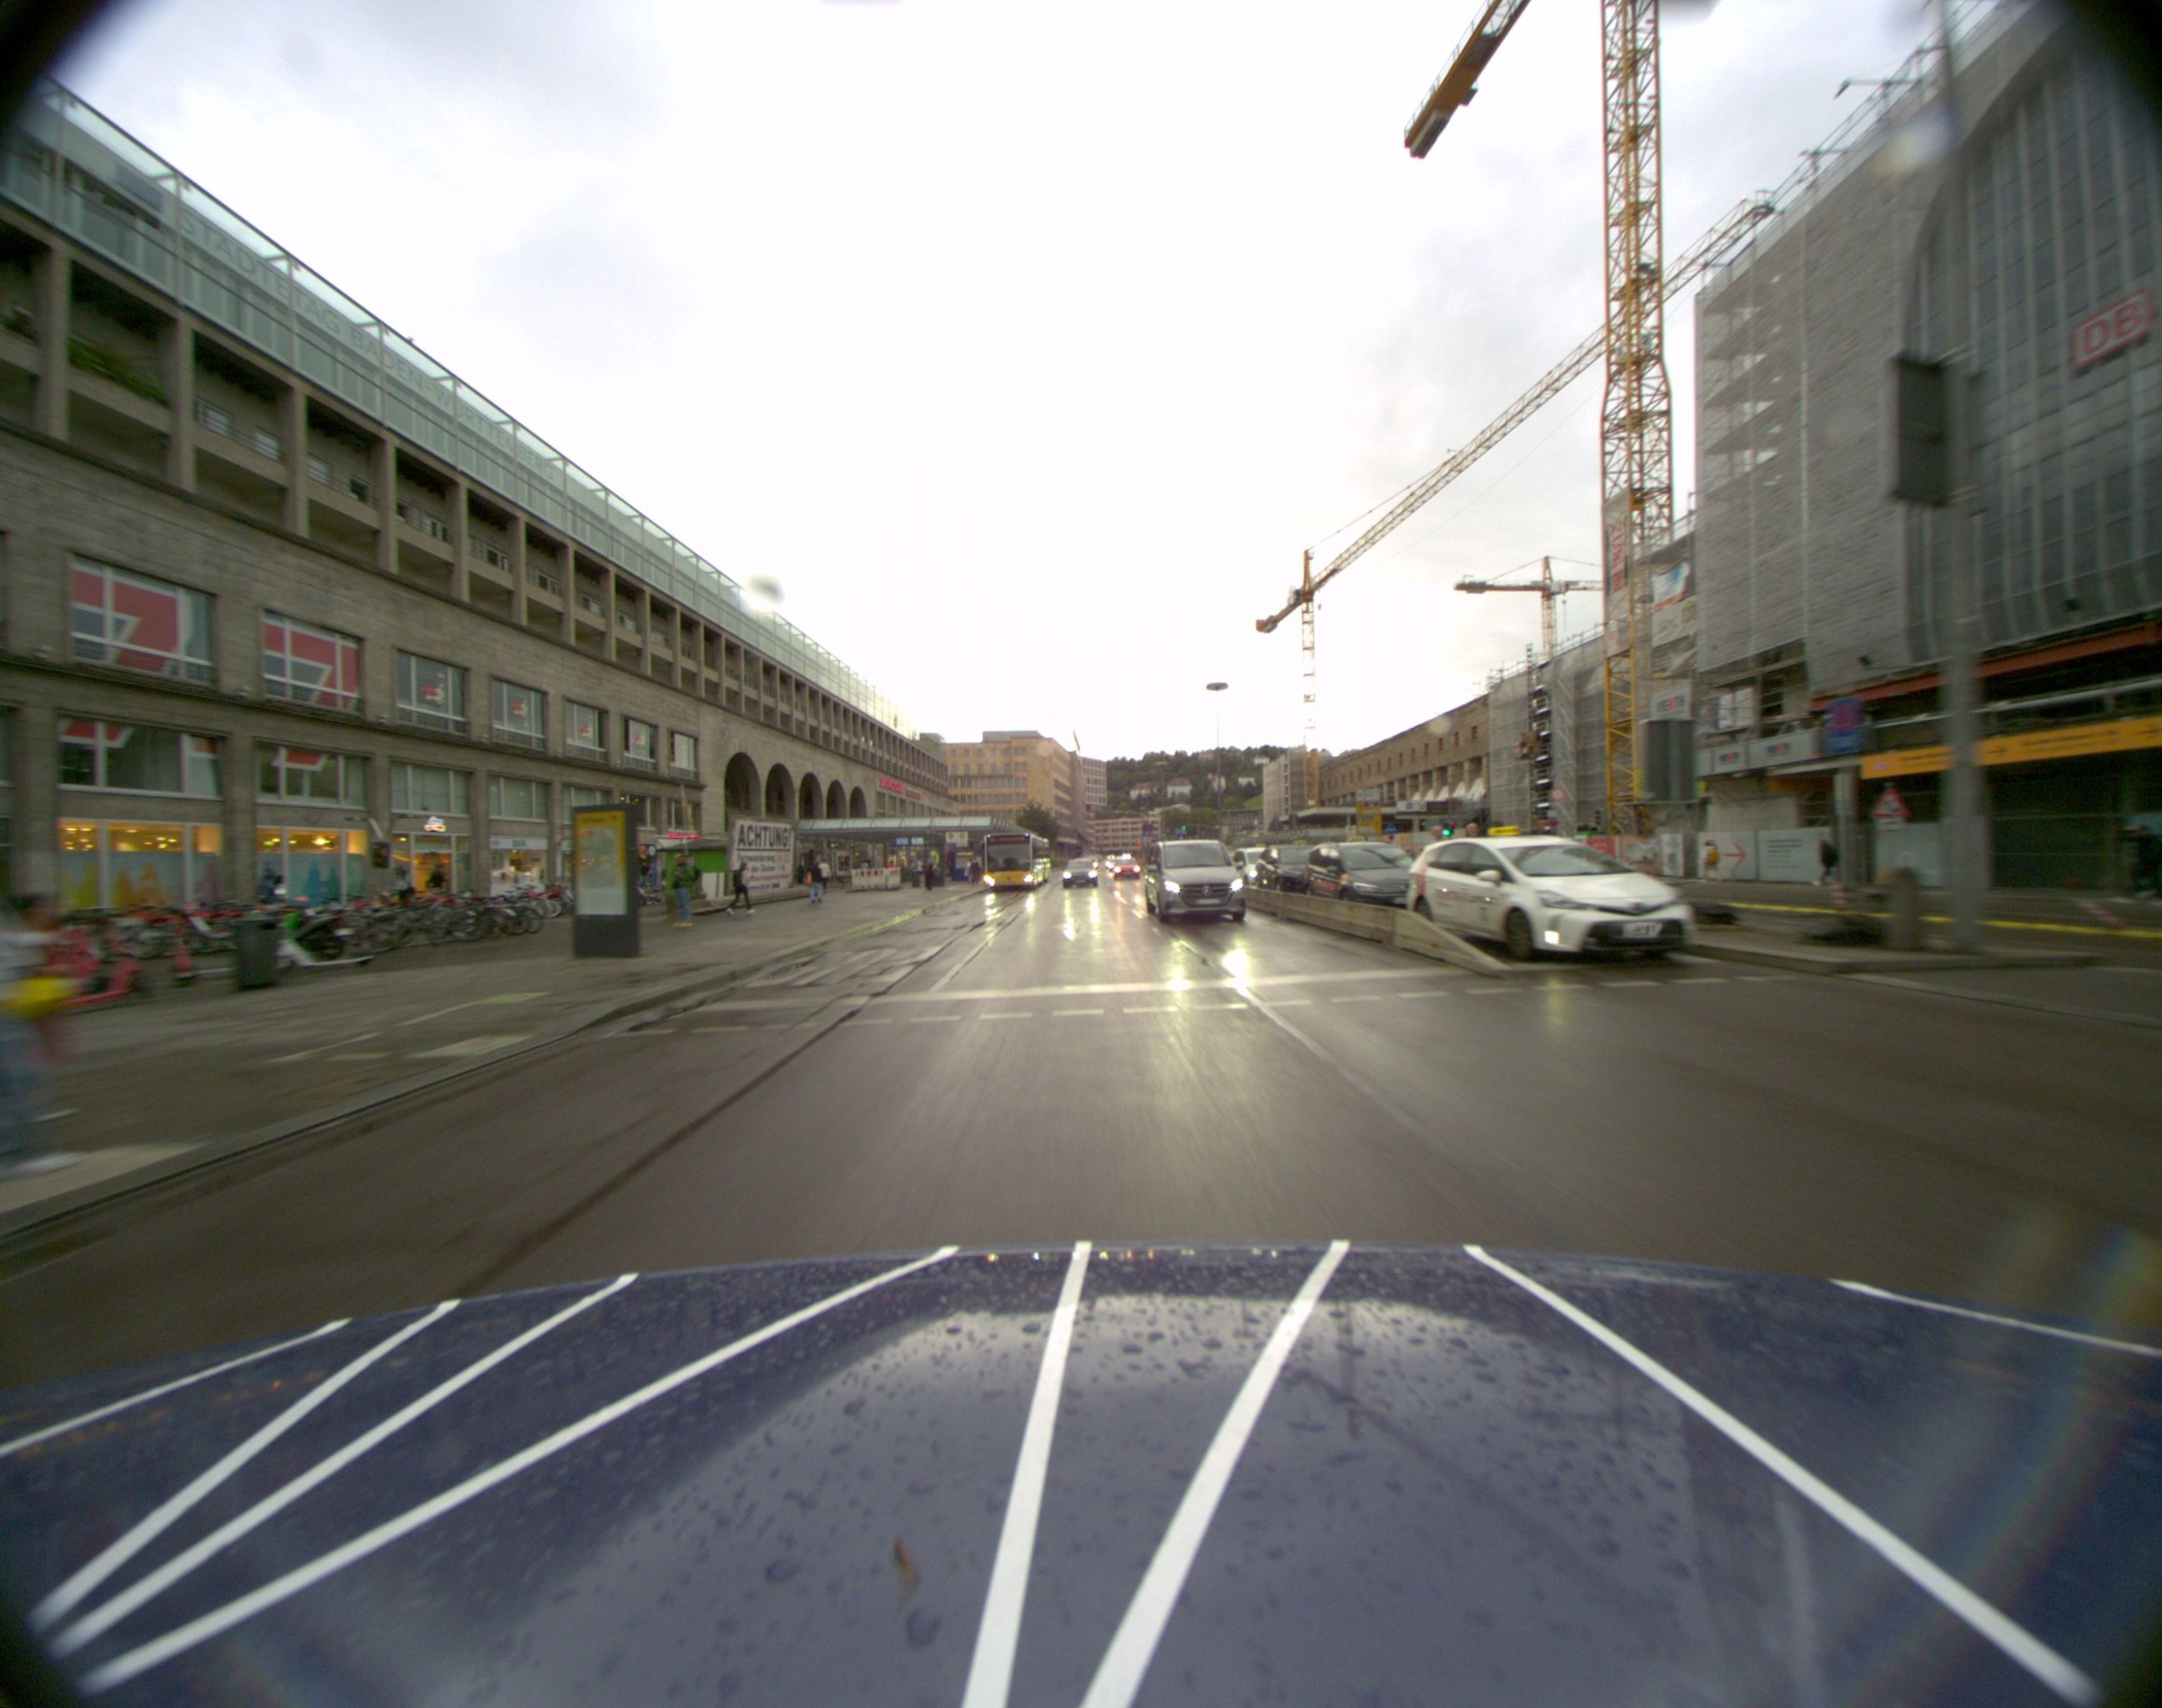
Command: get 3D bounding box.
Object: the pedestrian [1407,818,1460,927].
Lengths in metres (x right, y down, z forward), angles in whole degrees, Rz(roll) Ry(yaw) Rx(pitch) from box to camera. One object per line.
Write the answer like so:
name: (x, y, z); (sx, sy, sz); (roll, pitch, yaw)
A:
pedestrian: (6.668, 0.342, 14.395); (0.529, 2.002, 0.890); (-2, 0, -1)

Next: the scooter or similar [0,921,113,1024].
scooter or similar: (-13.605, 1.536, 10.038); (0.306, 1.200, 0.957); (-2, 1, 2)

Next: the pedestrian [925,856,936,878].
pedestrian: (-13.031, 1.124, 65.651); (0.596, 1.863, 0.592); (-1, 1, 35)

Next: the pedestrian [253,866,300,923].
pedestrian: (-24.443, 1.231, 23.100); (0.598, 1.679, 0.708); (-1, 1, 1)

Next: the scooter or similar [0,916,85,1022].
scooter or similar: (-14.048, 1.515, 9.939); (0.370, 1.274, 1.173); (-2, 1, 2)

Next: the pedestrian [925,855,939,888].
pedestrian: (-7.600, 0.895, 38.797); (0.595, 1.609, 0.511); (-3, 1, -9)

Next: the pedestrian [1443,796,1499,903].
pedestrian: (7.572, -0.091, 14.782); (0.623, 2.002, 0.836); (-2, 0, 0)

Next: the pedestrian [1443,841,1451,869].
pedestrian: (23.692, 0.065, 49.172); (0.339, 1.830, 0.510); (-2, 1, 17)

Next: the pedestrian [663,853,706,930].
pedestrian: (-10.232, 0.952, 19.628); (0.708, 1.921, 0.788); (-1, 1, -8)

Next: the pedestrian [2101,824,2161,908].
pedestrian: (23.780, 0.247, 16.940); (0.820, 1.830, 0.937); (-1, 1, 1)

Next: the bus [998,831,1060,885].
bus: (-3.360, 0.185, 51.970); (3.149, 3.229, 9.135); (-2, 1, 2)

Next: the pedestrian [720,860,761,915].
pedestrian: (-10.433, 1.015, 23.294); (0.787, 1.632, 0.790); (-1, 1, 16)

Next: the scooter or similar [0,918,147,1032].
scooter or similar: (-12.645, 1.484, 9.556); (0.325, 1.230, 1.099); (-2, 1, 2)

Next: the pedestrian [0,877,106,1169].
pedestrian: (-7.069, 1.064, 4.961); (0.541, 1.794, 0.756); (-2, 1, -27)

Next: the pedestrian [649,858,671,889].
pedestrian: (-24.224, 1.104, 43.726); (0.733, 1.782, 0.789); (-1, 1, 1)

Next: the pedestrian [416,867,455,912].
pedestrian: (-24.953, 1.360, 29.374); (0.723, 1.686, 0.776); (-2, 1, 0)

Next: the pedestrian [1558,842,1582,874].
pedestrian: (25.055, 0.214, 38.924); (0.678, 1.604, 0.839); (-2, 1, 4)

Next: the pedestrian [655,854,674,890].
pedestrian: (-22.701, 0.974, 41.458); (0.790, 1.918, 0.653); (-2, 1, -23)

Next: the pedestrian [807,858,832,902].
pedestrian: (-9.568, 0.943, 27.817); (0.652, 1.609, 0.502); (-1, 1, 16)

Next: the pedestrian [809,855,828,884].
pedestrian: (-16.479, 0.950, 47.739); (0.994, 1.782, 0.787); (-2, 1, -27)

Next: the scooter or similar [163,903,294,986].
scooter or similar: (-14.323, 1.499, 12.799); (1.308, 1.249, 0.592); (-2, 1, -13)

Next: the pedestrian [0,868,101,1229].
pedestrian: (-5.803, 0.983, 3.818); (0.748, 1.794, 0.709); (-1, 1, -13)

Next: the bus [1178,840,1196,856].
bus: (24.441, -1.412, 176.575); (2.916, 3.557, 19.082); (0, 0, 4)

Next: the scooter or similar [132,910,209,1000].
scooter or similar: (-14.046, 1.517, 11.752); (0.570, 1.224, 1.366); (-4, 1, -44)

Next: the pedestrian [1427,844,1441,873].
pedestrian: (23.209, 0.290, 49.981); (0.702, 1.830, 0.879); (-1, 1, 31)

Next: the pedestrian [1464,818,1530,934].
pedestrian: (7.521, 0.374, 13.733); (0.834, 2.002, 1.030); (-1, 1, 39)

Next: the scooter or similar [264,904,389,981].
scooter or similar: (-12.752, 1.476, 12.879); (0.437, 1.123, 1.368); (-4, 0, 27)

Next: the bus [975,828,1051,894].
bus: (-3.591, 0.321, 42.799); (3.121, 3.186, 9.241); (-2, 1, 1)

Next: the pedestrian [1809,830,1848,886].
pedestrian: (24.883, 0.134, 25.307); (0.536, 1.830, 0.772); (-2, 1, 7)

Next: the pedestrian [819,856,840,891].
pedestrian: (-13.217, 1.018, 39.915); (0.733, 1.782, 0.757); (-1, 1, 16)

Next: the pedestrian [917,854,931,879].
pedestrian: (-11.547, 0.942, 55.896); (0.790, 1.794, 0.990); (-2, 1, -27)
